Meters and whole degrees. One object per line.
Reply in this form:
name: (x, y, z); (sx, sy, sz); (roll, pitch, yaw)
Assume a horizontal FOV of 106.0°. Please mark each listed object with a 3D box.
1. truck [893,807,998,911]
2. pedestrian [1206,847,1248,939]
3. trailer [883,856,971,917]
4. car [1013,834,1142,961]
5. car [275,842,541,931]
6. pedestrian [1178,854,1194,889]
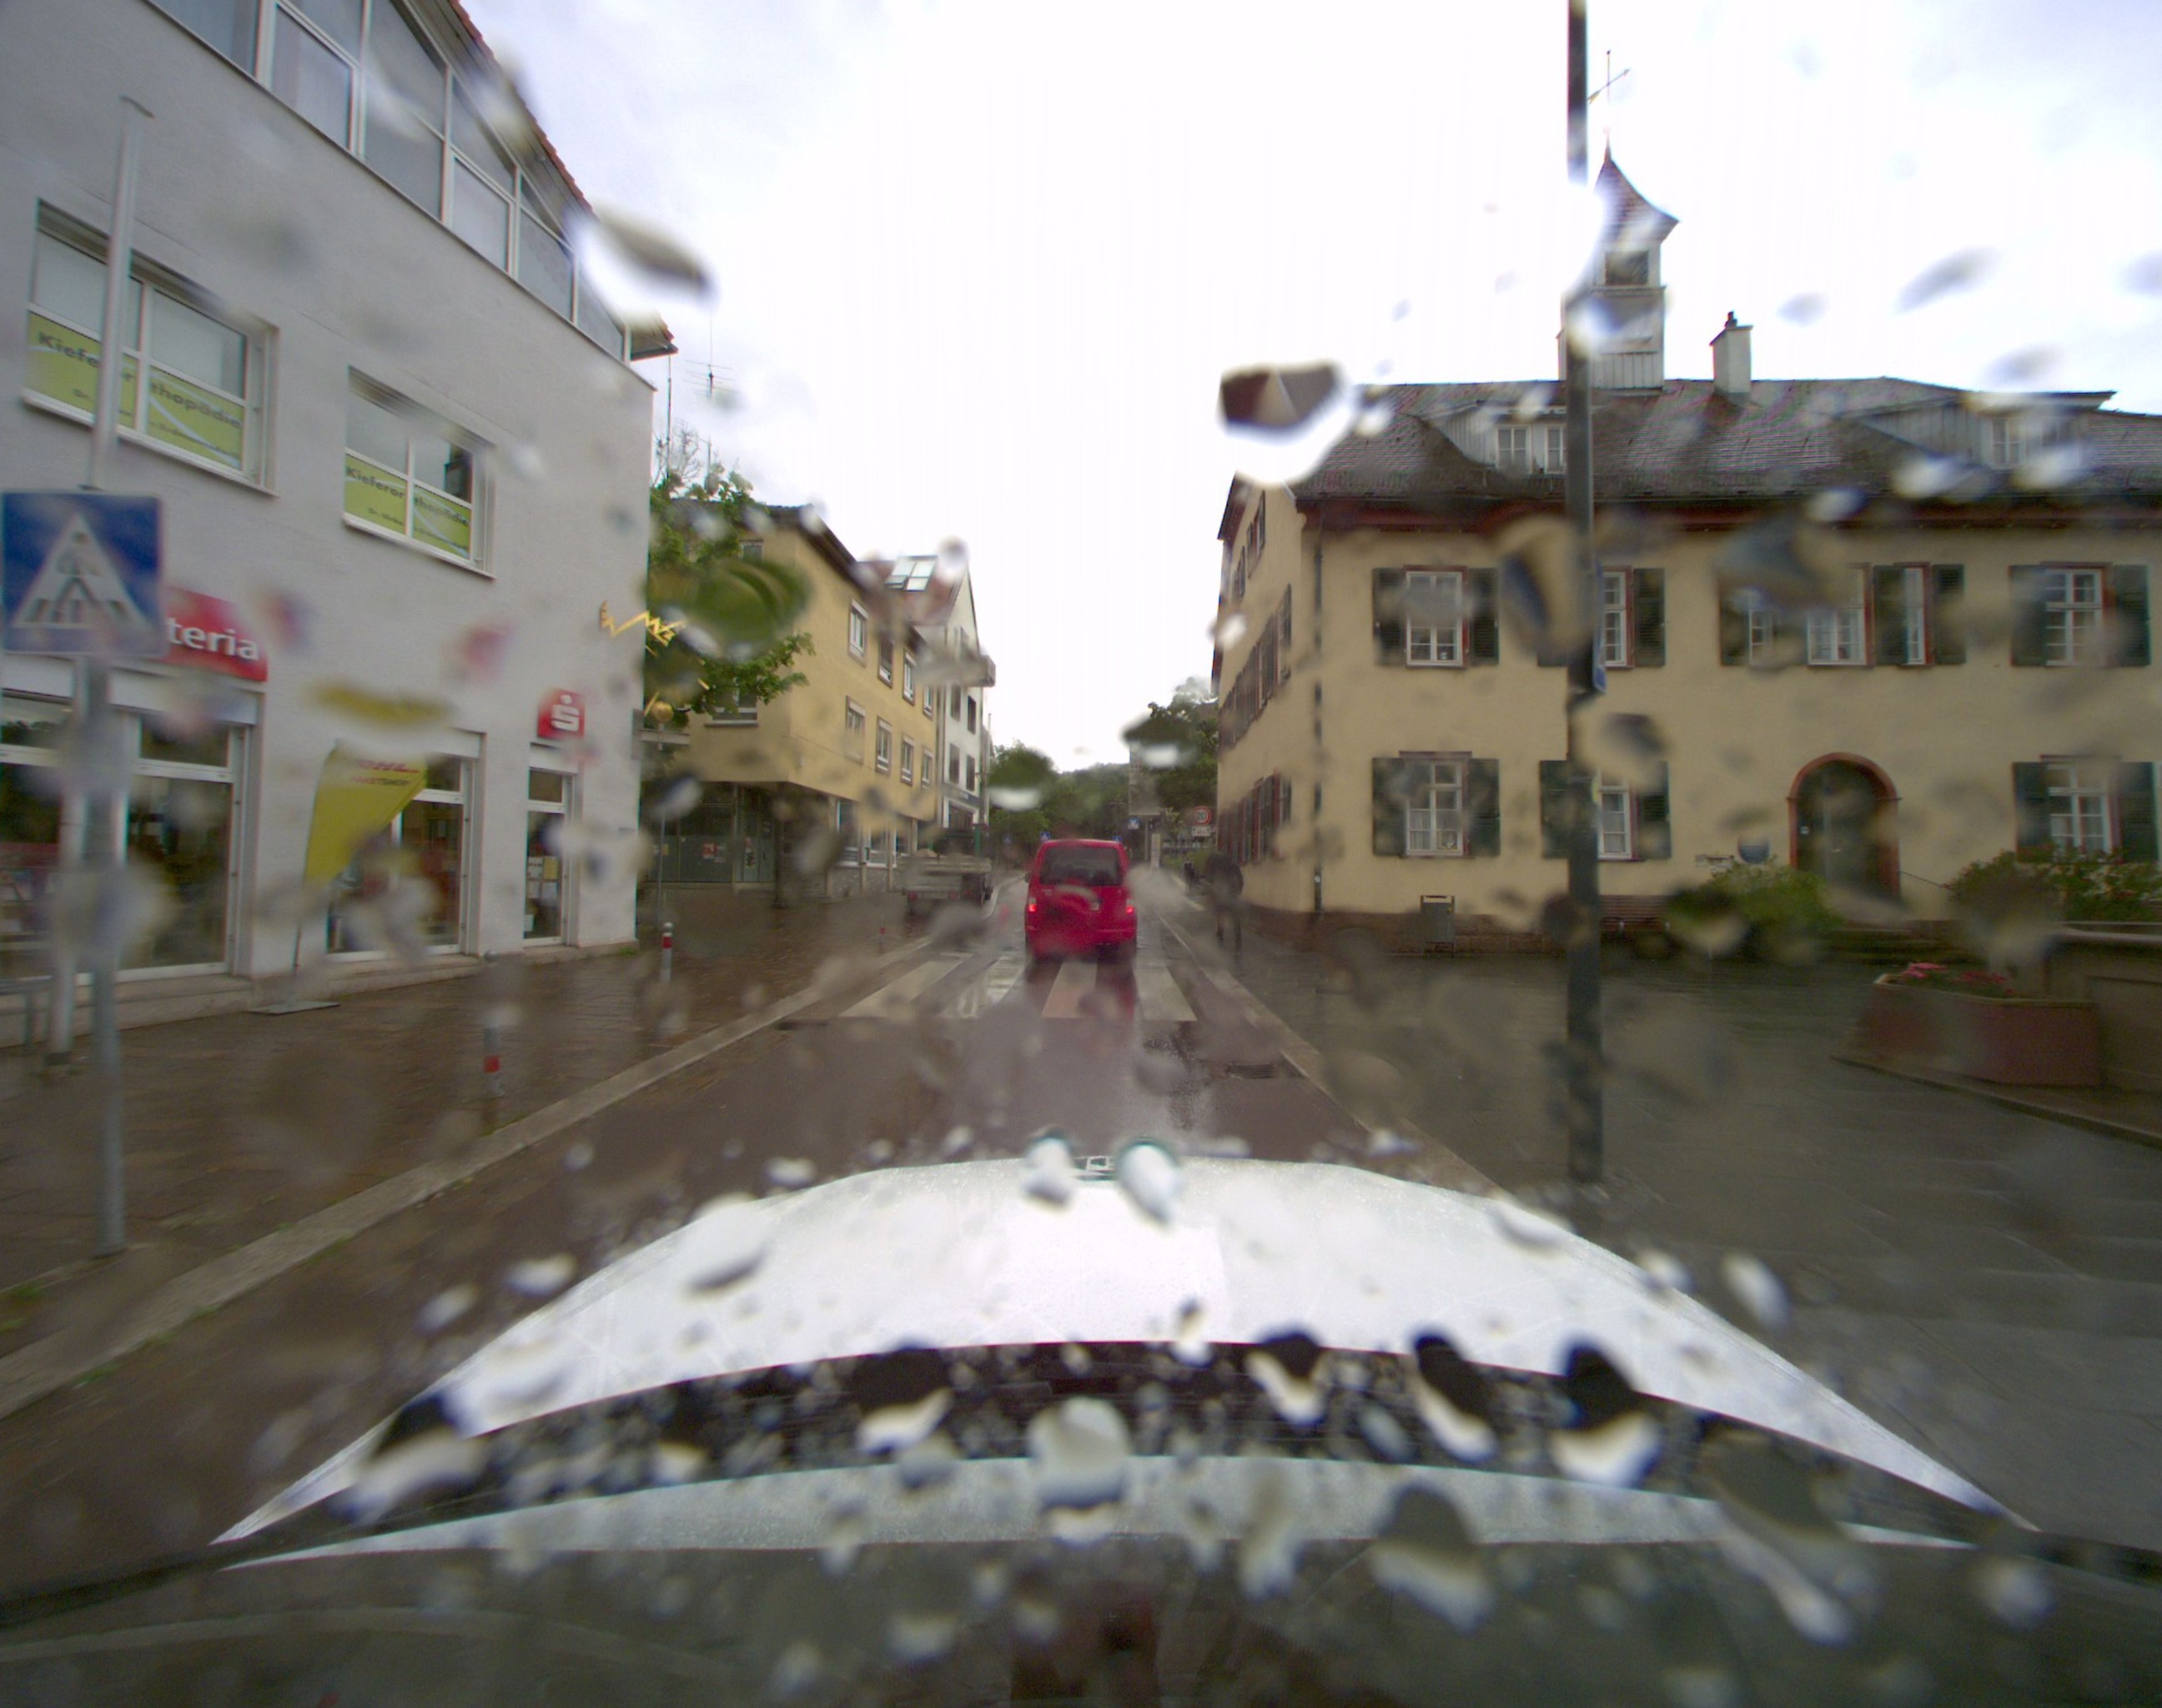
truck: (-3.992, 0.096, 25.319); (2.468, 2.795, 6.593); (0, 1, -3)
pedestrian: (2.746, 0.710, 15.359); (0.710, 1.693, 0.869); (0, 0, 5)
trailer: (-3.776, 0.757, 20.445); (1.724, 1.346, 3.157); (0, 1, -3)
car: (-0.101, 0.655, 13.941); (1.857, 1.831, 4.182); (1, -1, -2)
car: (-12.978, 0.590, 15.811); (3.959, 1.564, 1.973); (0, 0, 13)
pedestrian: (4.912, 0.836, 38.036); (0.724, 1.617, 0.694); (0, -1, 4)
